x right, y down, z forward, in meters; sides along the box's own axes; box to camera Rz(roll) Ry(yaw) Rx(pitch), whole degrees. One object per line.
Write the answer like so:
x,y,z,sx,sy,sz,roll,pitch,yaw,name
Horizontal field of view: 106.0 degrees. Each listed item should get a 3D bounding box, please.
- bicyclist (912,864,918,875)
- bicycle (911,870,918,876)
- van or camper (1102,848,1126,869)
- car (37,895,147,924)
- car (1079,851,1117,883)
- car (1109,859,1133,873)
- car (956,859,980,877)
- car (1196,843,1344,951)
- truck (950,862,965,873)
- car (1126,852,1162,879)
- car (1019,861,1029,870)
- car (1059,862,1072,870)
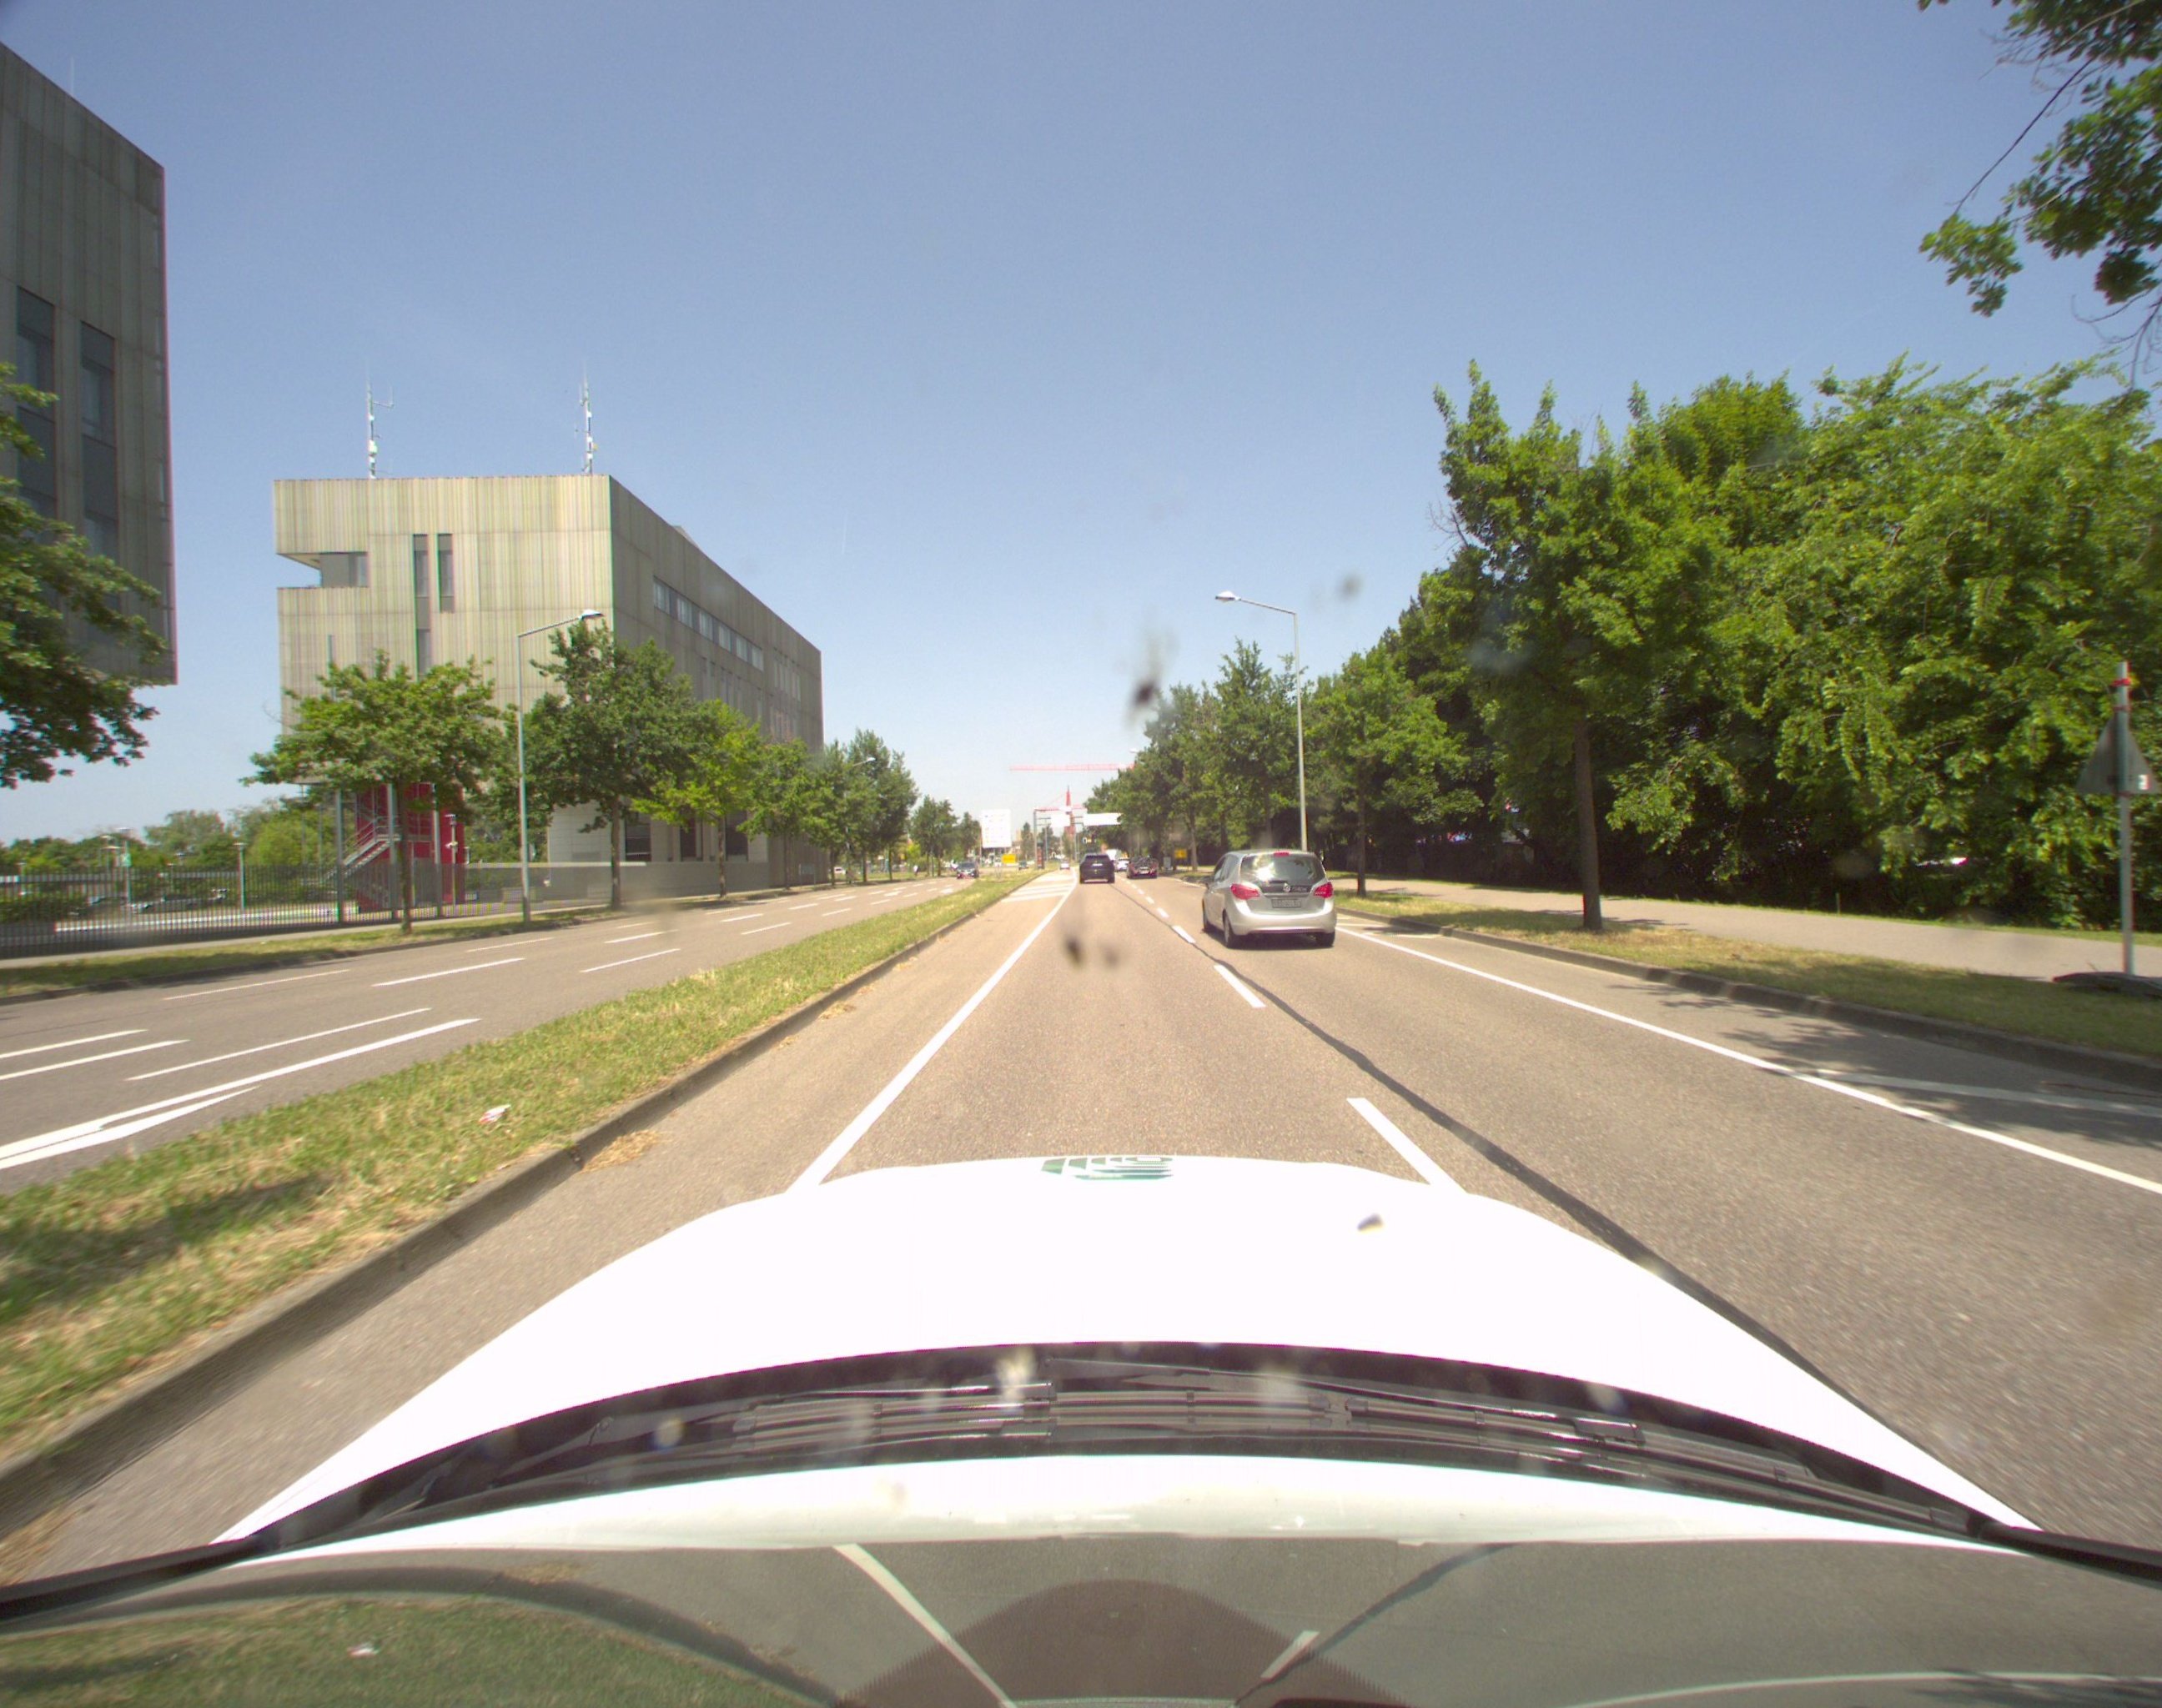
-23.738,2.166,116.131,0.620,1.489,0.757,-2,-1,2,bicyclist
-23.726,2.702,115.943,0.479,0.715,1.851,-2,-1,2,bicycle
3.840,0.520,95.674,2.486,2.291,4.918,-2,-1,-1,van or camper
-68.661,3.822,56.670,2.016,1.581,4.523,-2,0,1,car
0.926,0.682,45.325,1.991,1.689,4.034,-1,0,1,car
3.987,1.229,82.214,1.653,1.356,4.450,-2,-1,-7,car
-10.012,1.236,72.510,1.703,1.471,3.937,-3,0,-3,car
3.150,0.655,14.346,1.786,1.612,3.892,-1,0,1,car
-28.211,3.094,185.982,2.632,2.577,6.311,-1,-1,-3,truck
3.945,0.720,51.843,2.007,1.517,4.461,-2,-1,1,car
-11.360,2.291,163.398,1.888,1.610,4.529,-2,0,-3,car
-2.801,2.053,143.915,1.990,1.321,3.993,-2,0,-5,car
